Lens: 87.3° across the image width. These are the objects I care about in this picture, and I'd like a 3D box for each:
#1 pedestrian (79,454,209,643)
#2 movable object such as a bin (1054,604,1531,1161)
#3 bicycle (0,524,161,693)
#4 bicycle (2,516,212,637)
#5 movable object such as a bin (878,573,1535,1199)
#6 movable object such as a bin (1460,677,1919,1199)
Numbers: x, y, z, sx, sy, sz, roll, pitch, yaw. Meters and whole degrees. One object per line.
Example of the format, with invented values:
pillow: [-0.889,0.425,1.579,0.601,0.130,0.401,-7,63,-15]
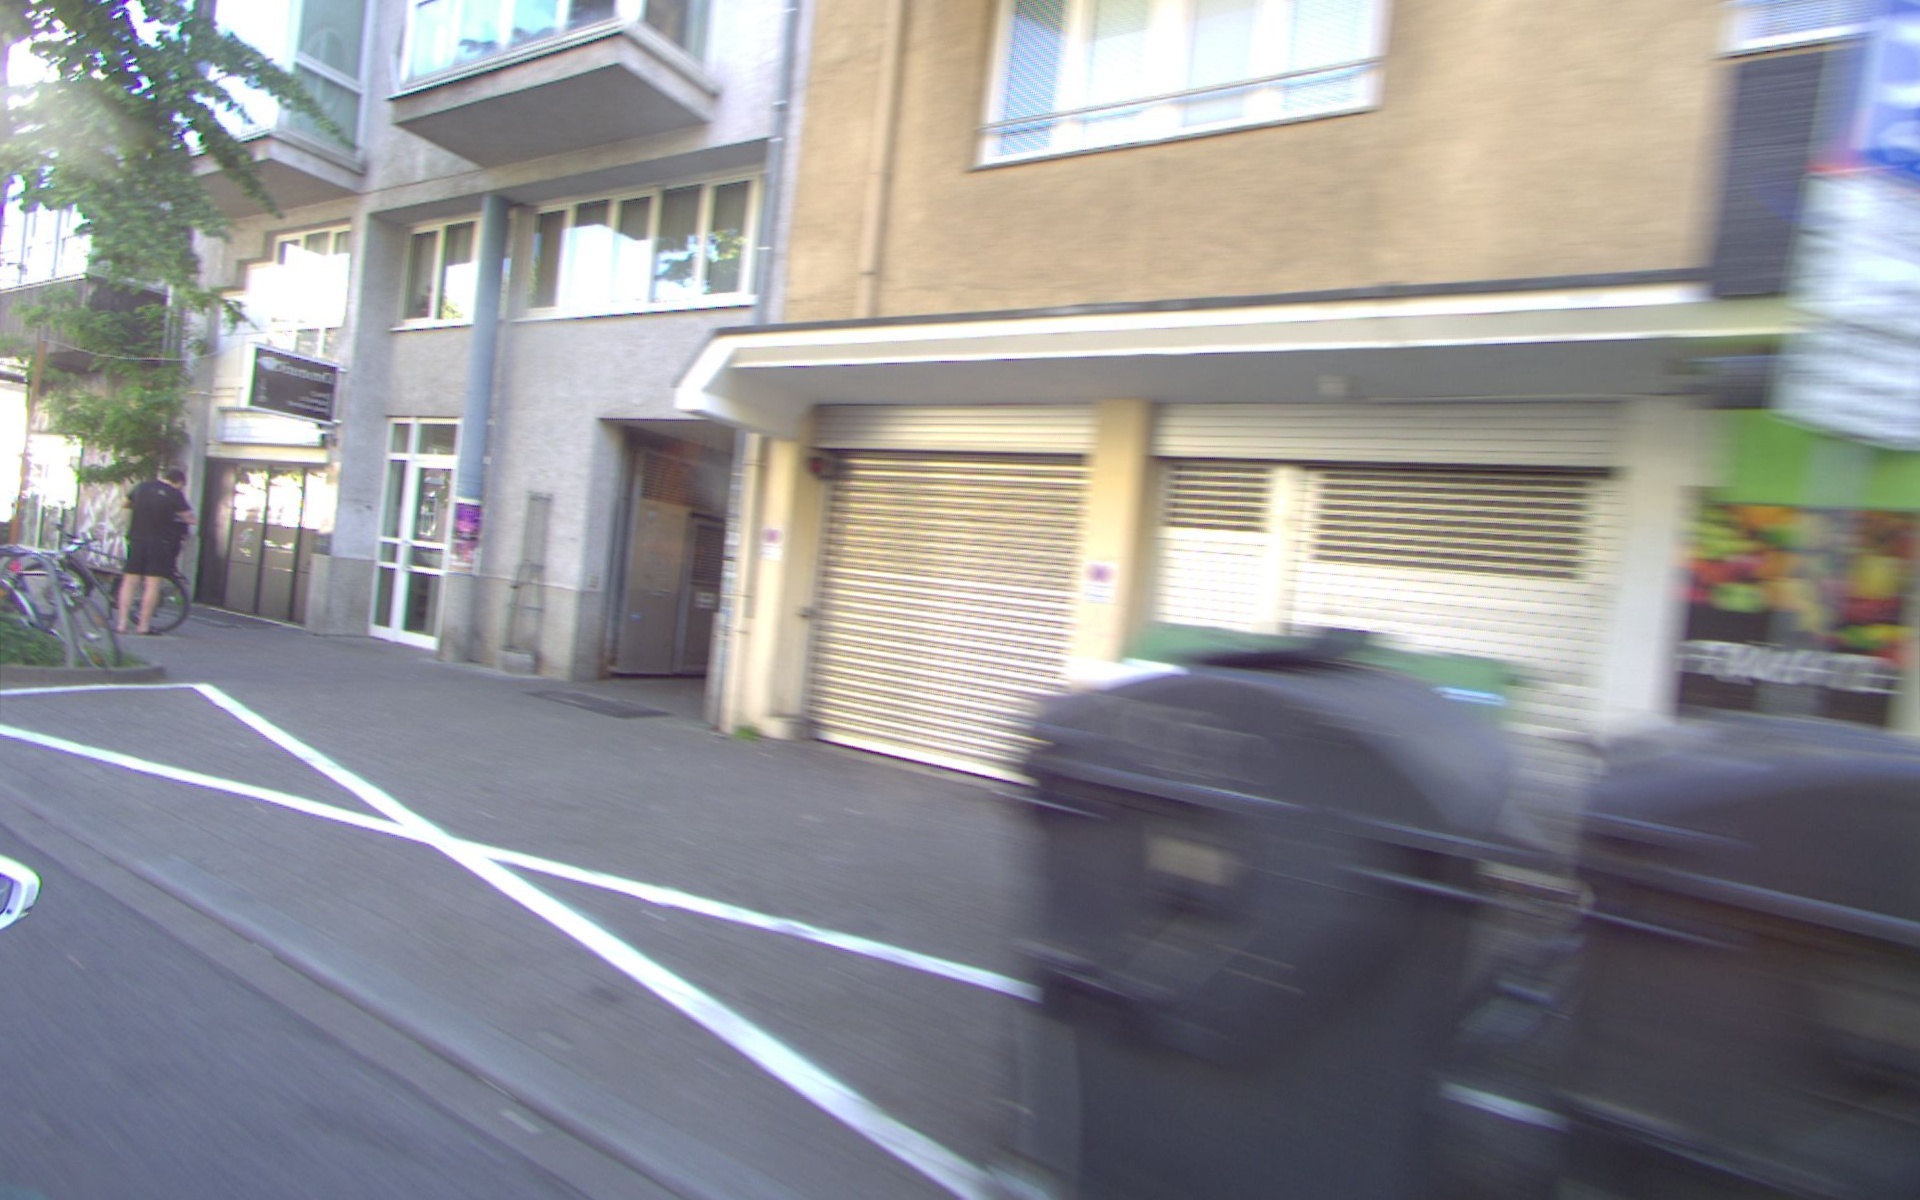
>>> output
pedestrian: [-9.130,-0.561,11.298,0.919,1.960,0.754,6,1,-34]
movable object such as a bin: [1.219,0.830,3.613,1.274,1.449,1.078,7,1,32]
bicycle: [-7.539,0.020,8.259,2.018,1.138,0.607,7,8,22]
bicycle: [-9.827,-0.256,11.648,1.657,1.163,0.680,7,1,-11]
movable object such as a bin: [0.700,0.812,2.546,1.127,1.562,1.332,7,1,31]
movable object such as a bin: [1.707,0.964,2.016,1.127,1.472,1.400,7,1,31]
